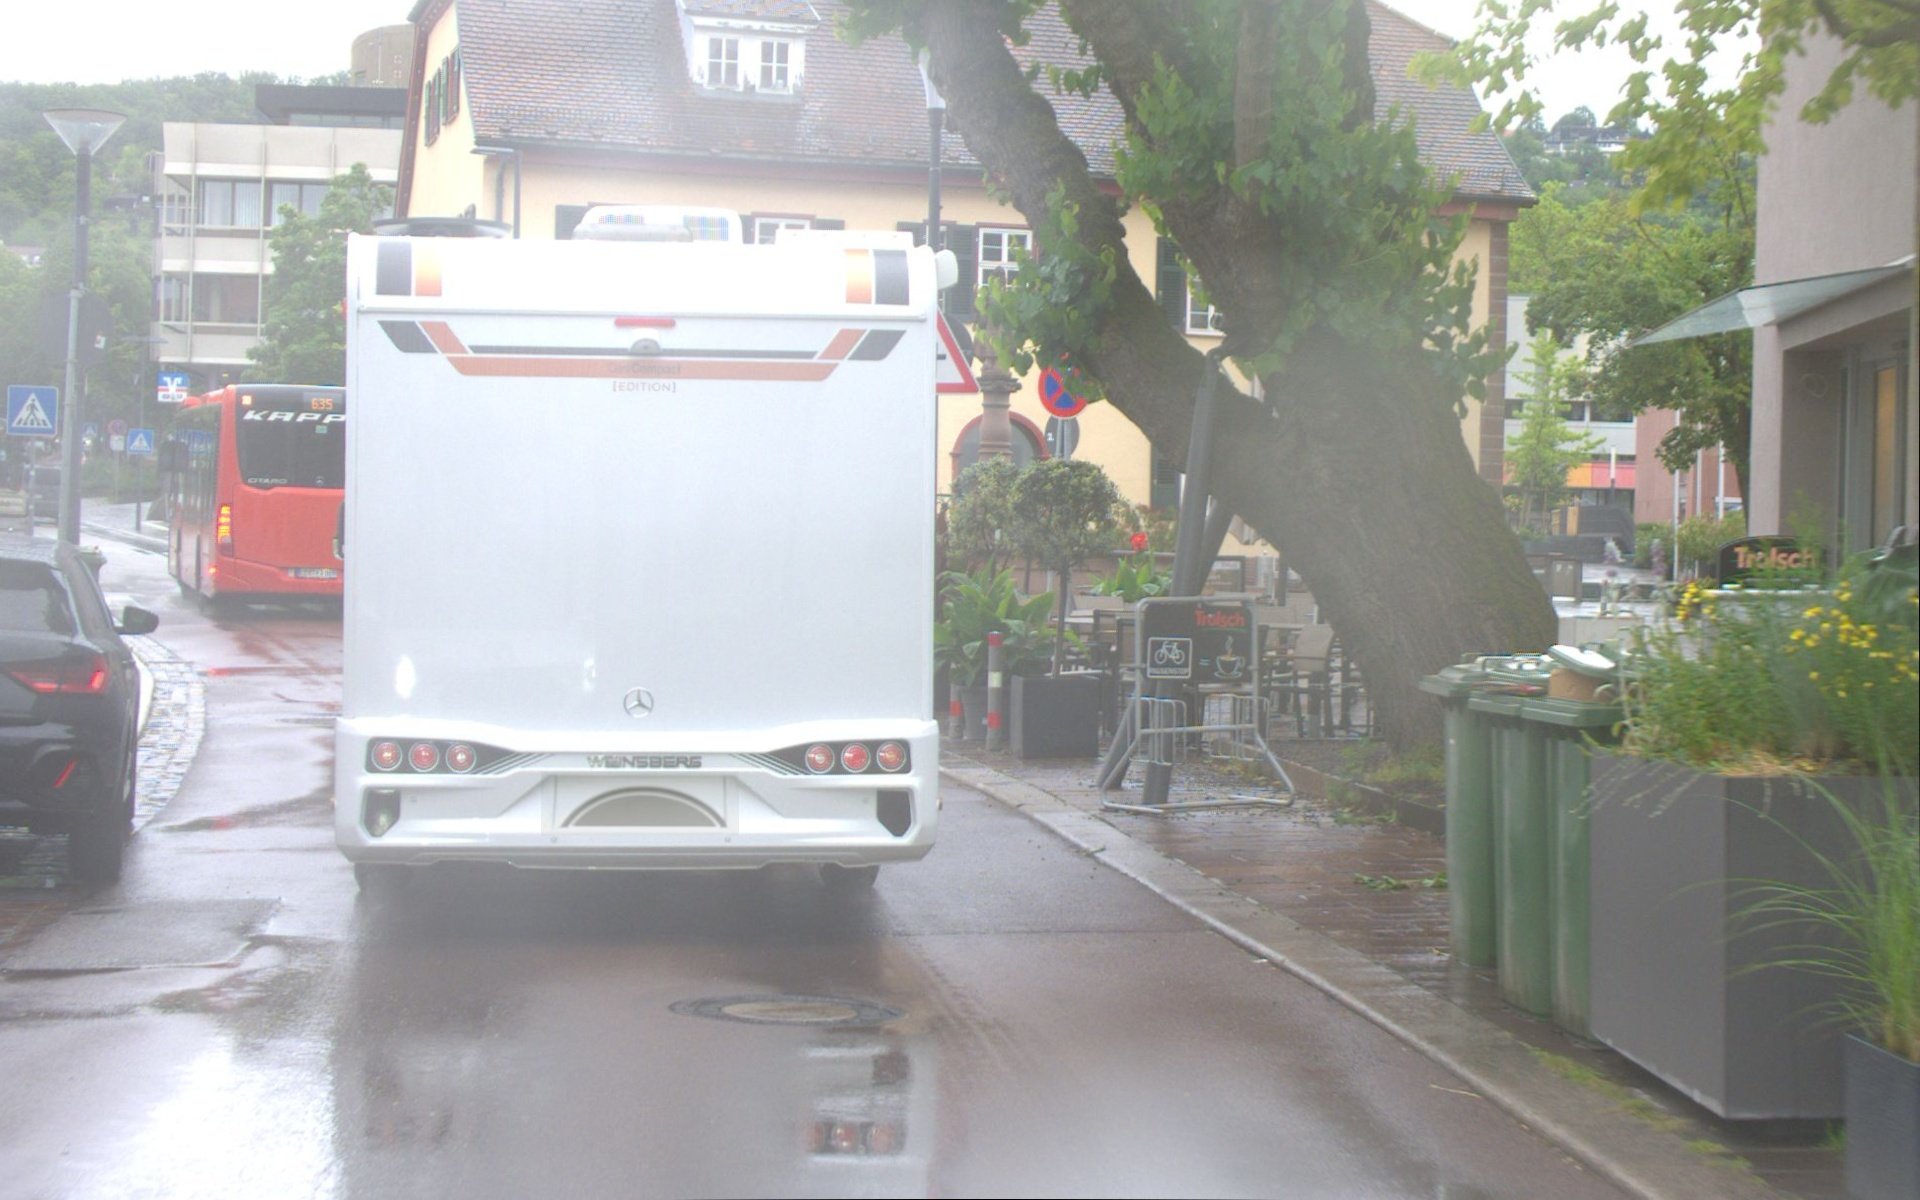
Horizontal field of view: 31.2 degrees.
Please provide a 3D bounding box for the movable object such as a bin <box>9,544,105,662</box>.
[{"bbox_3d":[-8.203,0.029,31.241,0.818,1.047,0.700,1,0,-14],"label":"movable object such as a bin"}]

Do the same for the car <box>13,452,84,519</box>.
[{"bbox_3d":[-29.520,-3.690,111.288,1.993,2.007,4.001,1,0,-17],"label":"car"}]

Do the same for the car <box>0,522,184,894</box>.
[{"bbox_3d":[-4.678,0.386,16.029,1.993,1.489,4.001,2,1,-13],"label":"car"}]

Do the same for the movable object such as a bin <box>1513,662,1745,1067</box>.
[{"bbox_3d":[1.979,0.769,10.217,0.543,1.152,0.577,1,0,-2],"label":"movable object such as a bin"}]

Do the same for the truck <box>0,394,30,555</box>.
[{"bbox_3d":[-18.245,-2.248,62.479,2.279,2.748,5.570,1,0,-18],"label":"truck"}]

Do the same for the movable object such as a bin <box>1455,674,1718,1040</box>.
[{"bbox_3d":[1.959,0.794,10.805,0.692,1.098,0.561,1,0,-2],"label":"movable object such as a bin"}]

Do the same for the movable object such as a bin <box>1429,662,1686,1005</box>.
[{"bbox_3d":[1.985,0.766,11.482,0.728,1.098,0.561,1,0,-2],"label":"movable object such as a bin"}]

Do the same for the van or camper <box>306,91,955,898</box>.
[{"bbox_3d":[-1.710,-0.365,15.762,2.325,2.909,6.394,1,0,-9],"label":"van or camper"}]

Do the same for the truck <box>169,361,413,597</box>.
[{"bbox_3d":[-9.166,-1.529,46.622,2.461,2.929,6.200,1,0,-18],"label":"truck"}]

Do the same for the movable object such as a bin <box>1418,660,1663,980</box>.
[{"bbox_3d":[2.027,0.760,12.069,0.728,1.076,0.577,1,0,-2],"label":"movable object such as a bin"}]
